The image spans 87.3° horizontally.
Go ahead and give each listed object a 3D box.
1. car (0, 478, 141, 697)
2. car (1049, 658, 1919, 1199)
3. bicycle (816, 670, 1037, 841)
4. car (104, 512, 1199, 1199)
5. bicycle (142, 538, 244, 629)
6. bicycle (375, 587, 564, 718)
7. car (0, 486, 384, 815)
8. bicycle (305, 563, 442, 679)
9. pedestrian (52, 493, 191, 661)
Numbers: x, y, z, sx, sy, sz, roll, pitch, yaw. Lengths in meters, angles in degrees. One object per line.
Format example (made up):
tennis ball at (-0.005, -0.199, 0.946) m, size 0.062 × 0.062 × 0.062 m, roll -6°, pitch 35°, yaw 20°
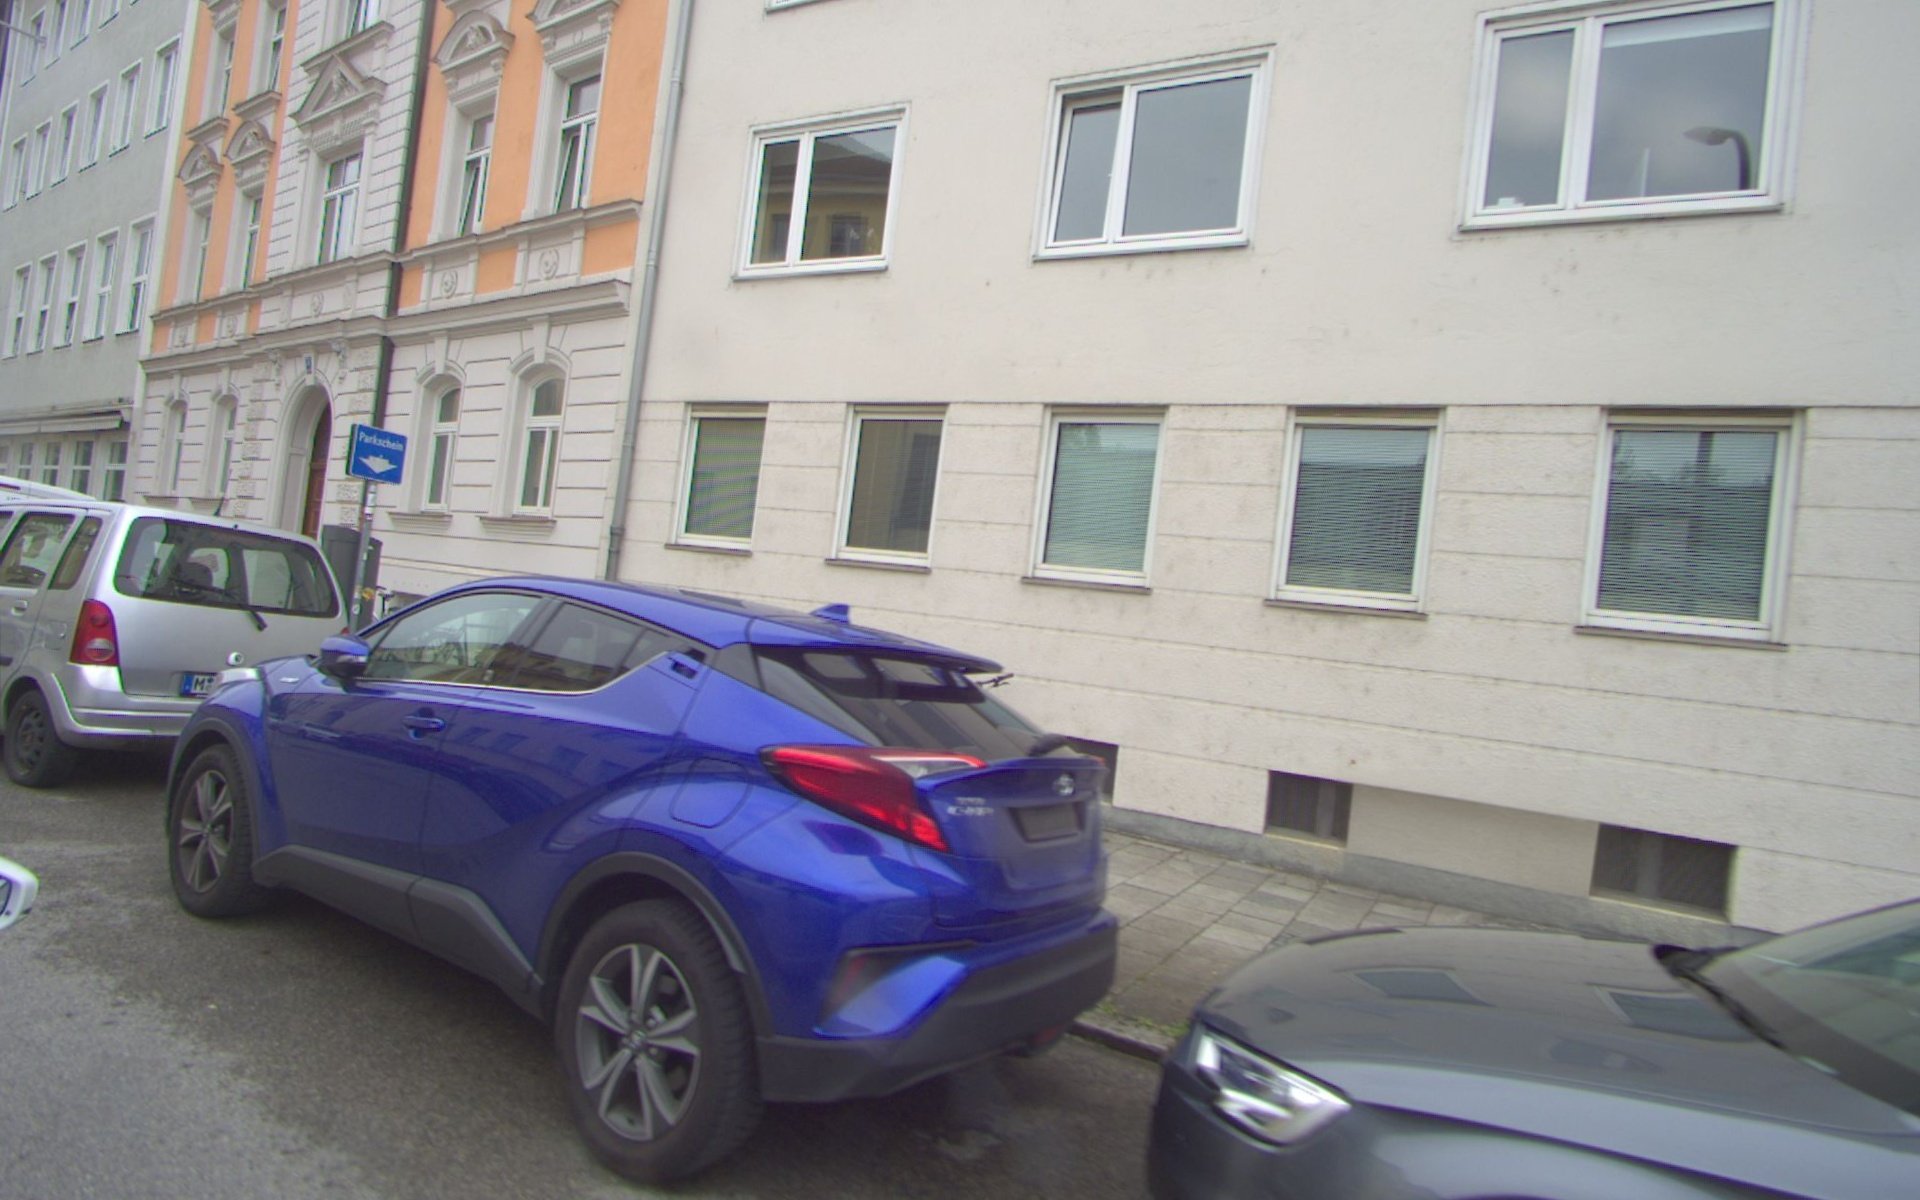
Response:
car at (-10.027, -0.314, 9.726) m, size 4.817 × 1.806 × 1.843 m, roll 6°, pitch -2°, yaw 34°
car at (2.419, 1.110, 1.775) m, size 4.127 × 1.412 × 1.747 m, roll 6°, pitch -3°, yaw 27°
bicycle at (-0.290, 1.259, 8.442) m, size 1.623 × 1.134 × 0.669 m, roll 6°, pitch -2°, yaw 27°
car at (-1.424, 0.702, 3.988) m, size 4.133 × 1.605 × 1.745 m, roll 6°, pitch -3°, yaw 33°
bicycle at (-12.142, -0.276, 15.902) m, size 2.063 × 1.198 × 0.651 m, roll 8°, pitch 2°, yaw 36°
bicycle at (-5.186, 0.540, 10.612) m, size 1.921 × 1.134 × 0.669 m, roll 6°, pitch -2°, yaw 27°
car at (-5.823, 0.209, 6.693) m, size 3.568 × 1.660 × 1.609 m, roll 6°, pitch -3°, yaw 27°
bicycle at (-7.445, 0.251, 12.721) m, size 2.063 × 1.198 × 0.651 m, roll 8°, pitch 2°, yaw 36°
pedestrian at (-9.033, -0.229, 10.857) m, size 0.637 × 1.682 × 0.862 m, roll 6°, pitch -1°, yaw 33°
